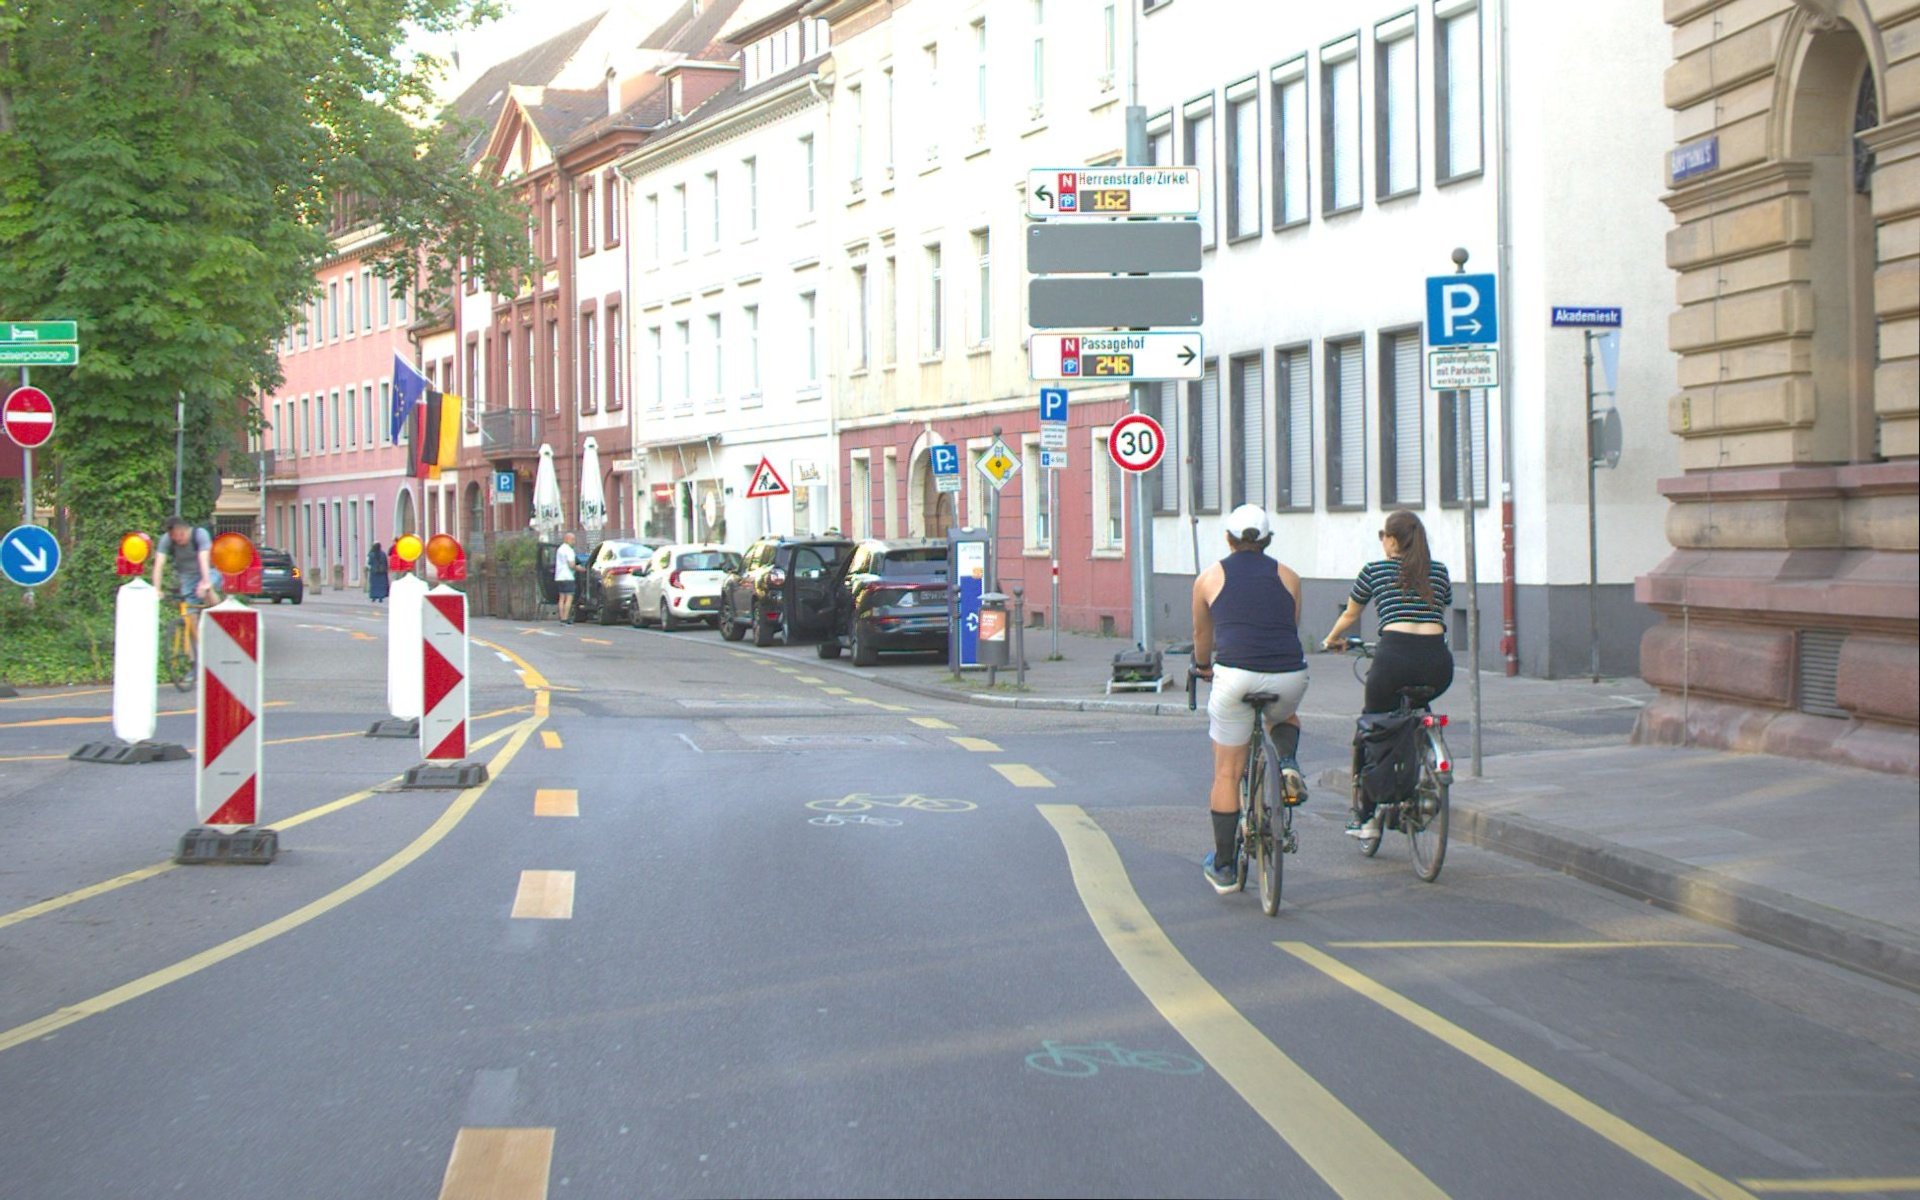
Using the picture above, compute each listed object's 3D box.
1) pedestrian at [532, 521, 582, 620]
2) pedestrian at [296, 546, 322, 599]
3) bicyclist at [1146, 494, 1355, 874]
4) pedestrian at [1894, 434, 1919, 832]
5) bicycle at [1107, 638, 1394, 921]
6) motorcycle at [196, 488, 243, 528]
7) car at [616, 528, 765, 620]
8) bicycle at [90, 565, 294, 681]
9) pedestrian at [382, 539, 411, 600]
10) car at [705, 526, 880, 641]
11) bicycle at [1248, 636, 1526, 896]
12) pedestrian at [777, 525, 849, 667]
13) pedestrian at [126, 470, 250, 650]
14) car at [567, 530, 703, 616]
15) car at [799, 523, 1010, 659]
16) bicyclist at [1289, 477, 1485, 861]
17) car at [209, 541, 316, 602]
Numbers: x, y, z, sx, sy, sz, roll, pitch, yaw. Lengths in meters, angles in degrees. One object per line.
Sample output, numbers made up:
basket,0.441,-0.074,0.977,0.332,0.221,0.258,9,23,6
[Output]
pedestrian,-7.588,-0.564,64.725,0.831,1.838,0.958,1,1,-1
pedestrian,-19.234,-0.817,101.559,0.667,1.576,0.586,-1,1,-19
bicyclist,1.225,0.345,14.574,0.668,1.560,0.699,1,1,-12
pedestrian,4.654,0.153,15.030,0.817,1.759,1.038,1,1,-1
bicycle,1.200,0.726,14.635,0.669,1.067,1.902,1,1,-12
motorcycle,-23.246,-2.890,107.872,1.041,1.244,2.399,-1,1,-21
car,-4.768,-0.478,60.440,1.812,1.554,3.866,-1,1,-17
bicycle,-7.262,0.199,32.619,0.761,1.034,2.118,0,1,24
pedestrian,-16.378,-0.895,99.927,0.750,1.756,0.586,-1,1,-19
car,-2.601,-0.284,52.568,1.812,1.678,4.001,-1,1,-16
bicycle,1.978,0.746,16.267,0.652,1.067,2.259,1,1,-10
pedestrian,-1.946,-0.065,45.532,0.900,1.859,0.932,0,1,0
pedestrian,-7.306,-0.383,32.559,0.736,1.668,0.894,0,1,24
car,-6.144,-0.531,64.672,1.812,1.554,3.866,-1,1,-17
car,-0.768,-0.148,44.587,1.812,1.676,3.921,-1,1,-15
bicyclist,2.003,0.309,16.212,0.649,1.754,0.864,1,1,-10
car,-18.628,-0.778,91.688,1.812,1.554,3.865,-1,1,-27
